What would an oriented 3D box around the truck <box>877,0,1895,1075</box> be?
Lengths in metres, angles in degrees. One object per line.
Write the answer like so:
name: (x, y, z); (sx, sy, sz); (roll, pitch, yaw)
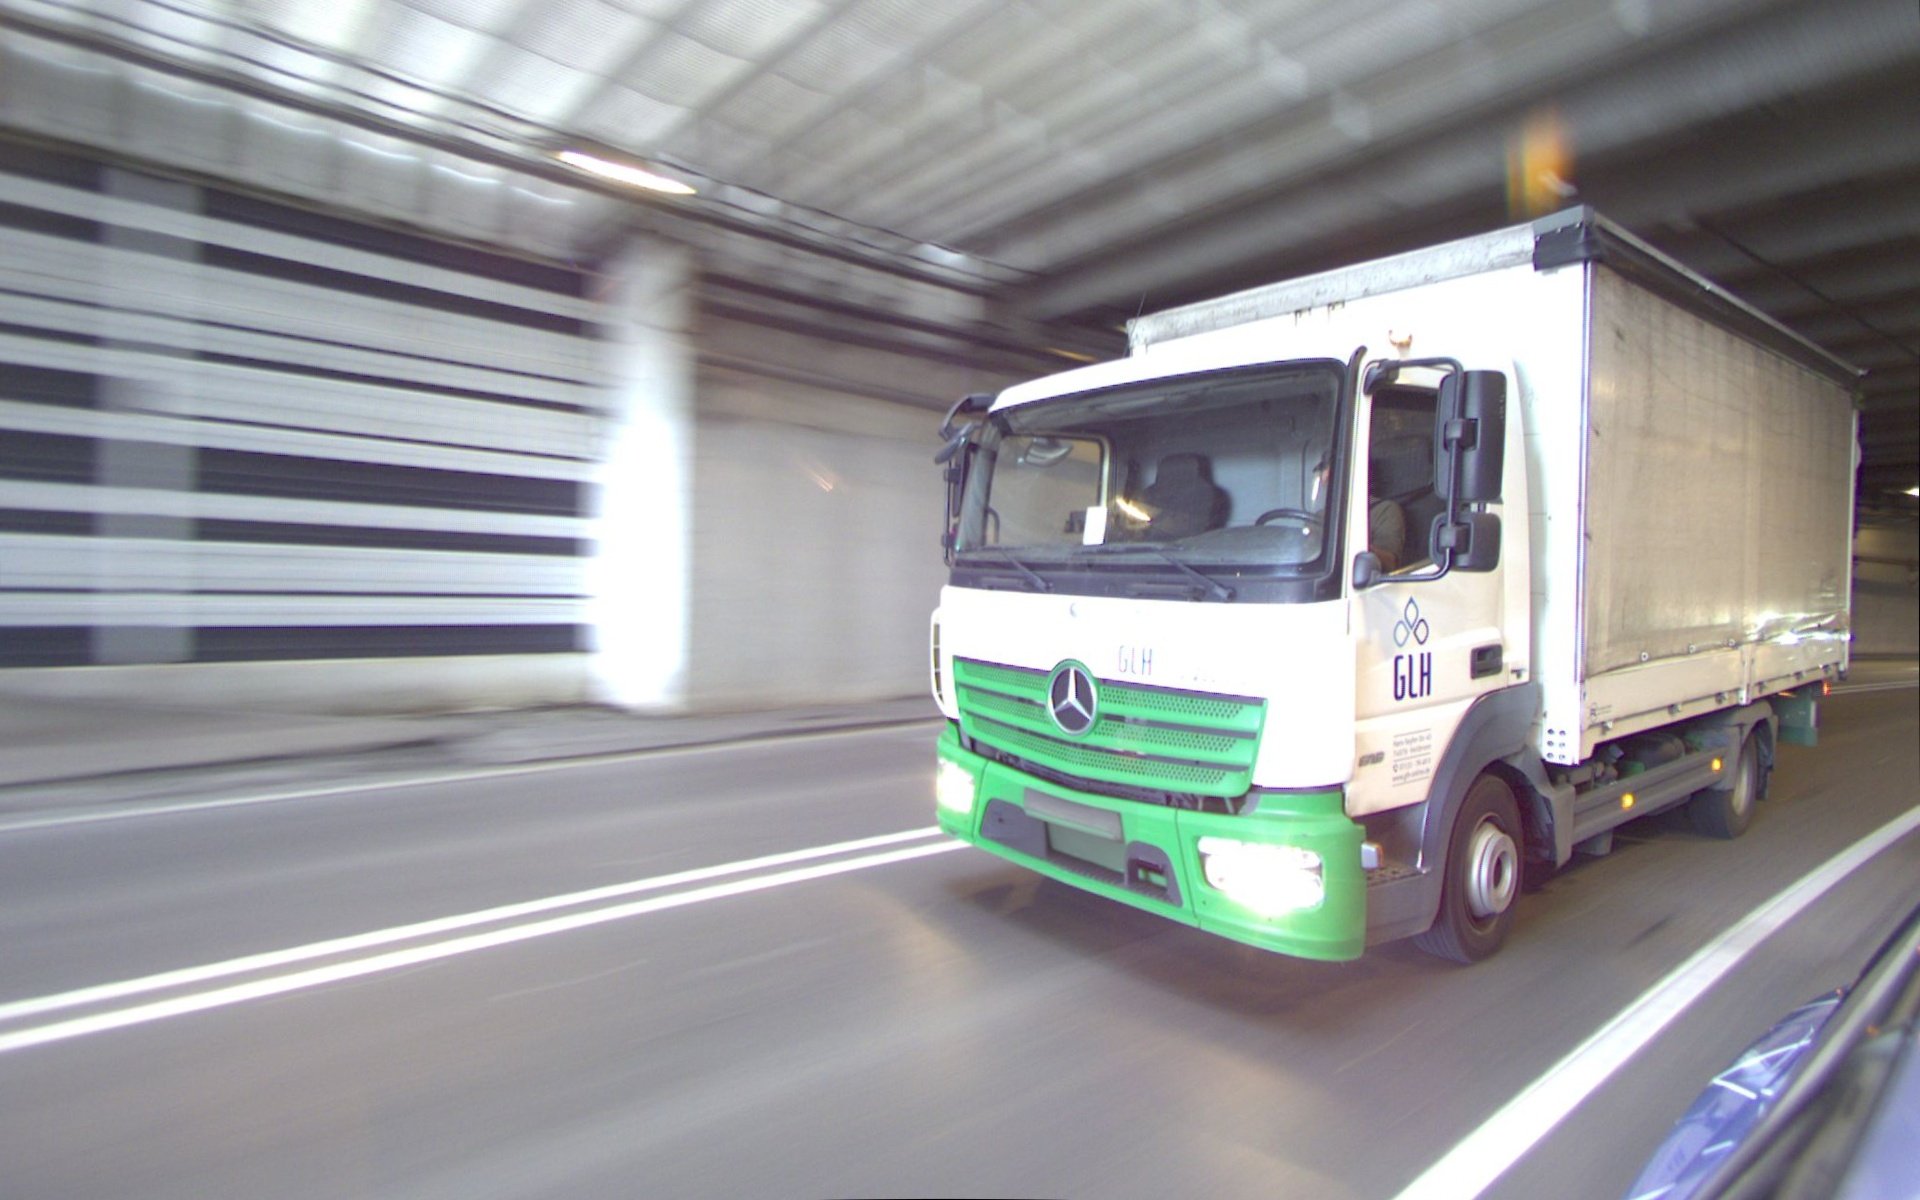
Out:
truck: (3.260, -0.260, 6.259); (7.281, 3.280, 2.636); (1, 0, -39)
